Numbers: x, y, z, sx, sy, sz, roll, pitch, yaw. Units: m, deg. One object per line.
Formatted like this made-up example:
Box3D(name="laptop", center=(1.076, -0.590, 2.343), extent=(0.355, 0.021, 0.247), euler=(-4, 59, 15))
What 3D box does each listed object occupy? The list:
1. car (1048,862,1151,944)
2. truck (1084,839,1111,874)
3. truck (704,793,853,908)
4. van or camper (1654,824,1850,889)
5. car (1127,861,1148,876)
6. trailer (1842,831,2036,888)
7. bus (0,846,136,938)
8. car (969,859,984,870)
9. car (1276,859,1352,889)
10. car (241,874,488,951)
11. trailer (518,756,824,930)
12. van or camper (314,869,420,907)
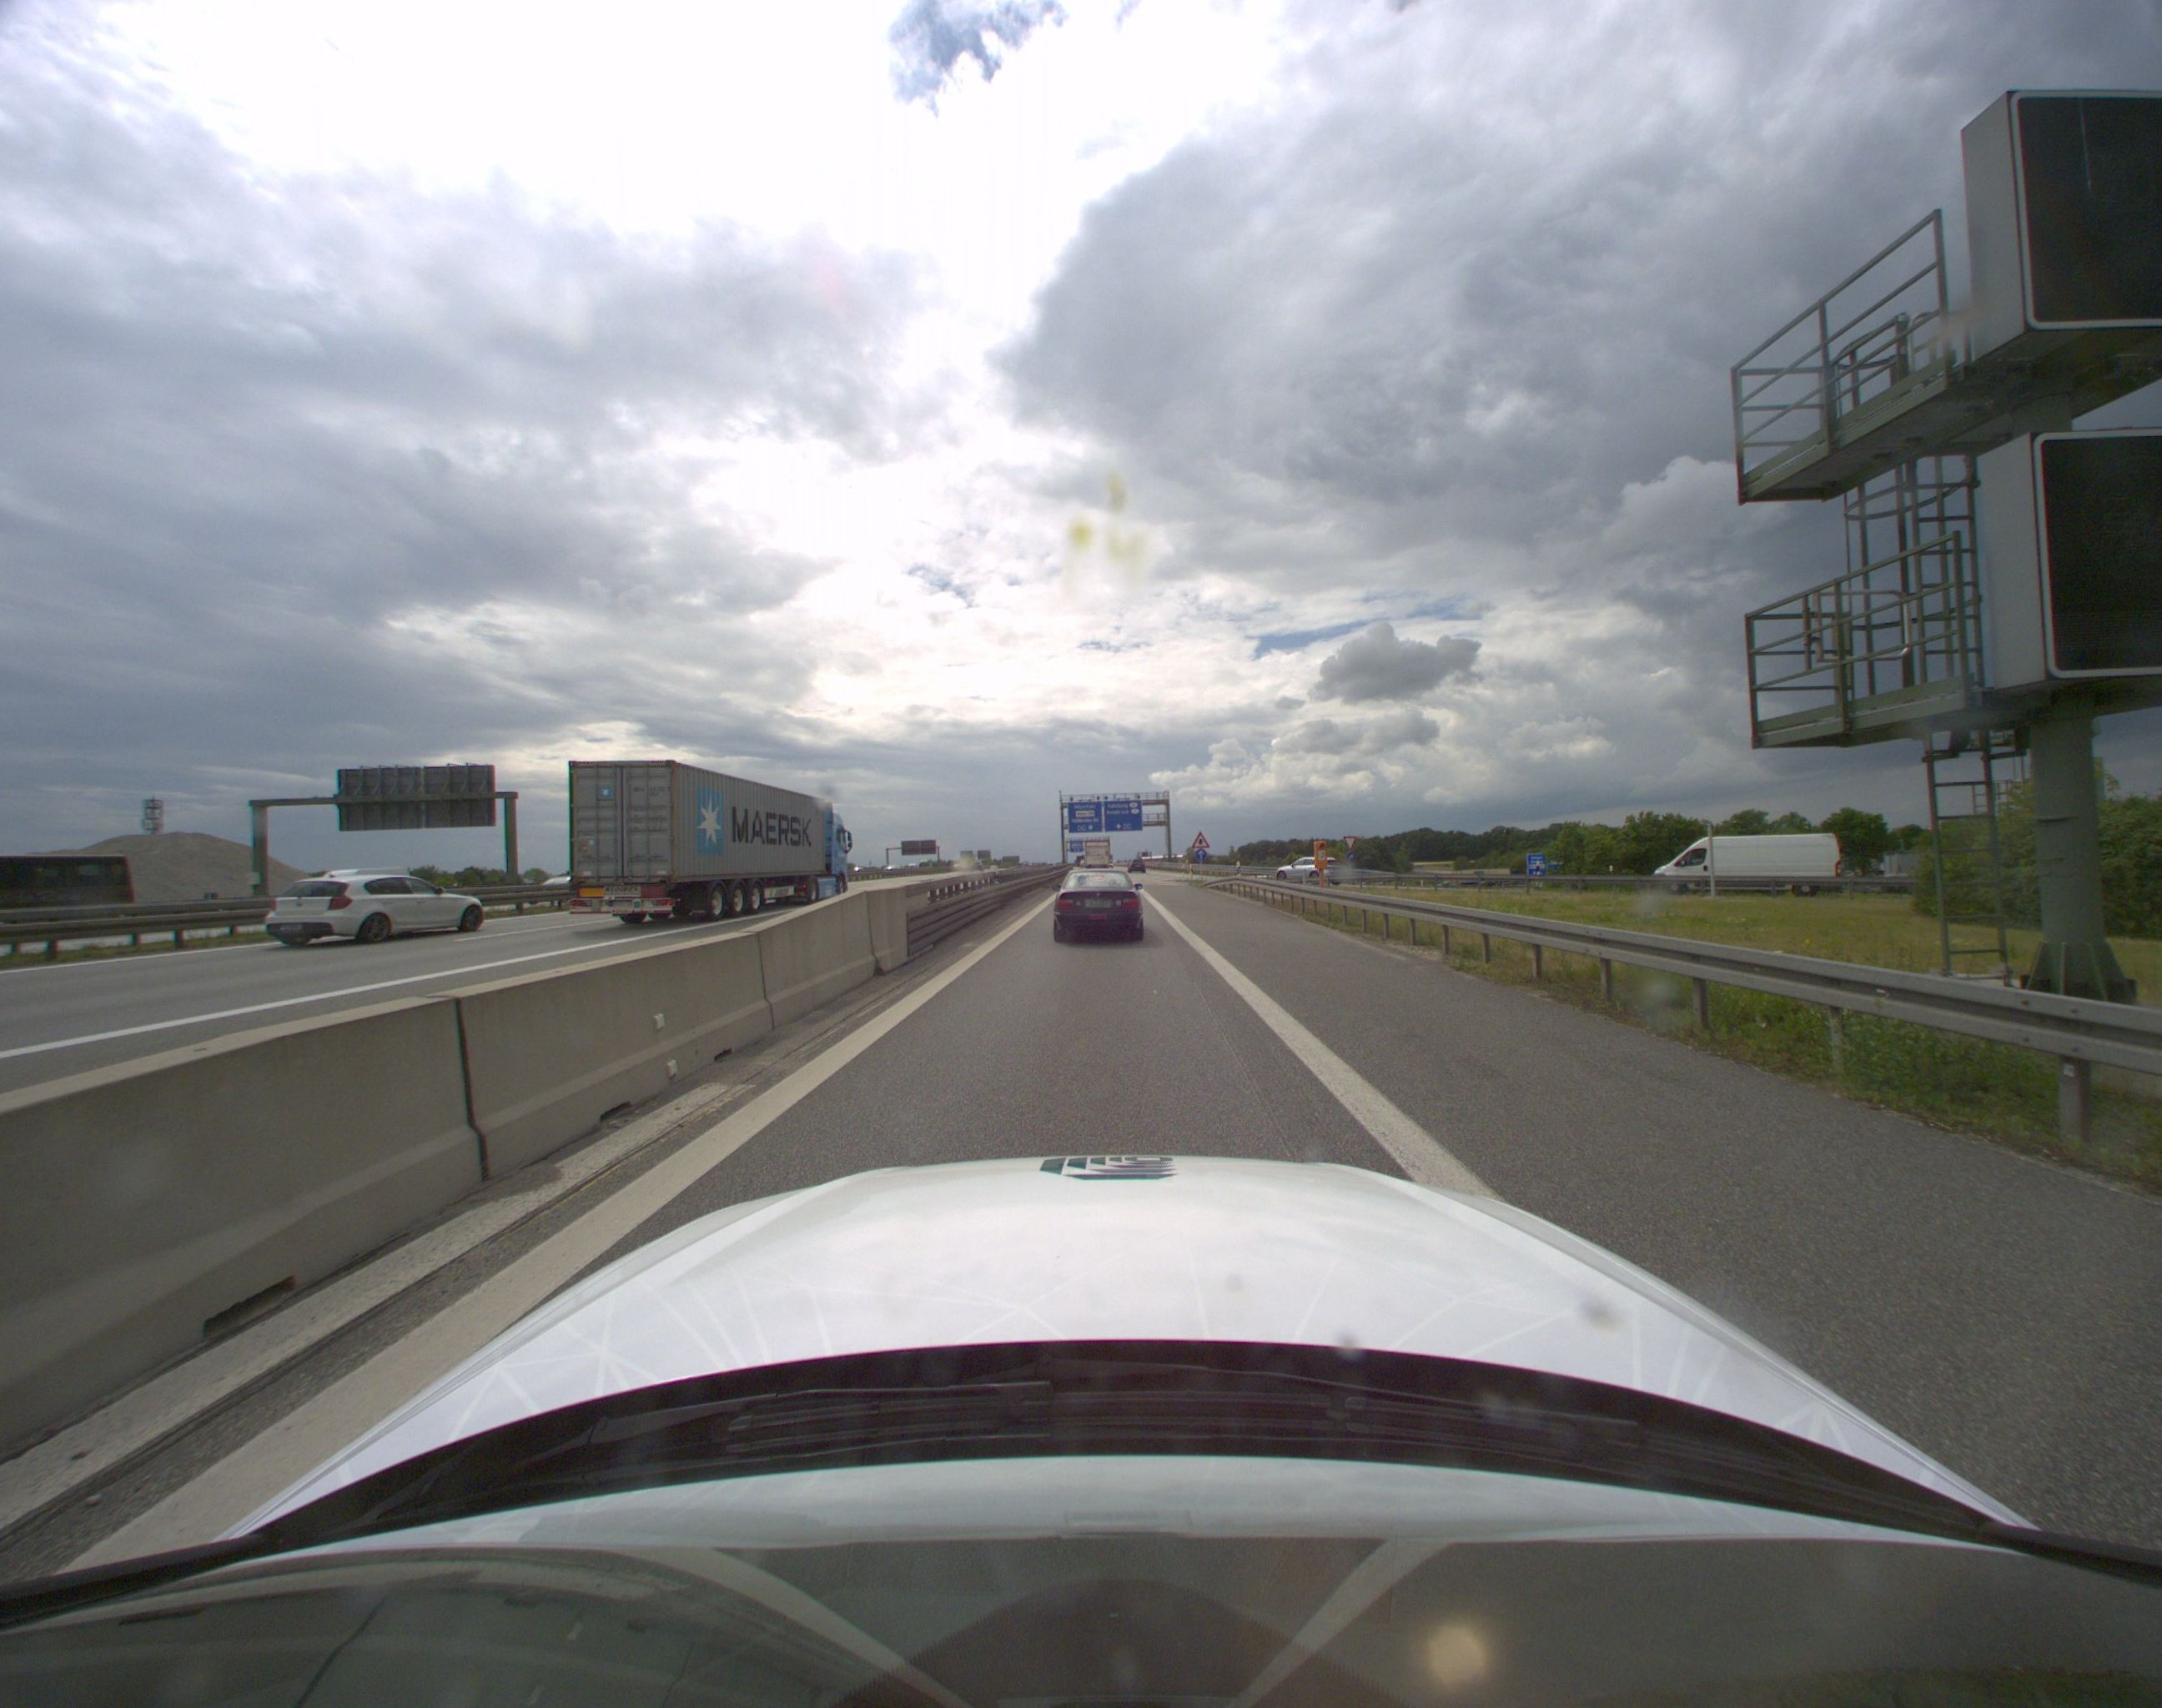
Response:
Box3D(name="car", center=(0.419, 0.872, 16.266), extent=(1.775, 1.378, 4.139), euler=(-1, 0, 2))
Box3D(name="truck", center=(1.500, 0.277, 76.188), extent=(2.396, 3.090, 6.370), euler=(-1, 0, 0))
Box3D(name="truck", center=(-11.352, -0.106, 31.382), extent=(3.237, 3.911, 6.608), euler=(-1, 0, -1))
Box3D(name="van or camper", center=(26.602, 0.129, 32.610), extent=(5.863, 2.361, 2.245), euler=(-1, -1, 37))
Box3D(name="car", center=(5.992, 1.493, 87.049), extent=(1.987, 1.552, 3.999), euler=(0, -1, 0))
Box3D(name="trailer", center=(30.778, 0.255, 29.451), extent=(4.448, 1.842, 2.013), euler=(-3, -2, 36))
Box3D(name="bus", center=(-42.164, 1.437, 28.487), extent=(3.204, 3.442, 12.986), euler=(-1, 0, -1))
Box3D(name="car", center=(-16.506, 1.668, 128.551), extent=(1.887, 1.597, 4.415), euler=(-1, 0, -1))
Box3D(name="car", center=(13.964, 1.197, 49.011), extent=(1.949, 1.685, 4.167), euler=(0, -1, -31))
Box3D(name="car", center=(-15.240, 1.168, 17.688), extent=(1.748, 1.369, 4.201), euler=(-1, -1, -3))
Box3D(name="trailer", center=(-11.252, -0.205, 24.675), extent=(3.227, 3.924, 12.372), euler=(0, -1, -1))
Box3D(name="van or camper", center=(-41.997, 1.957, 48.086), extent=(1.988, 2.014, 4.880), euler=(-1, 0, -2))
